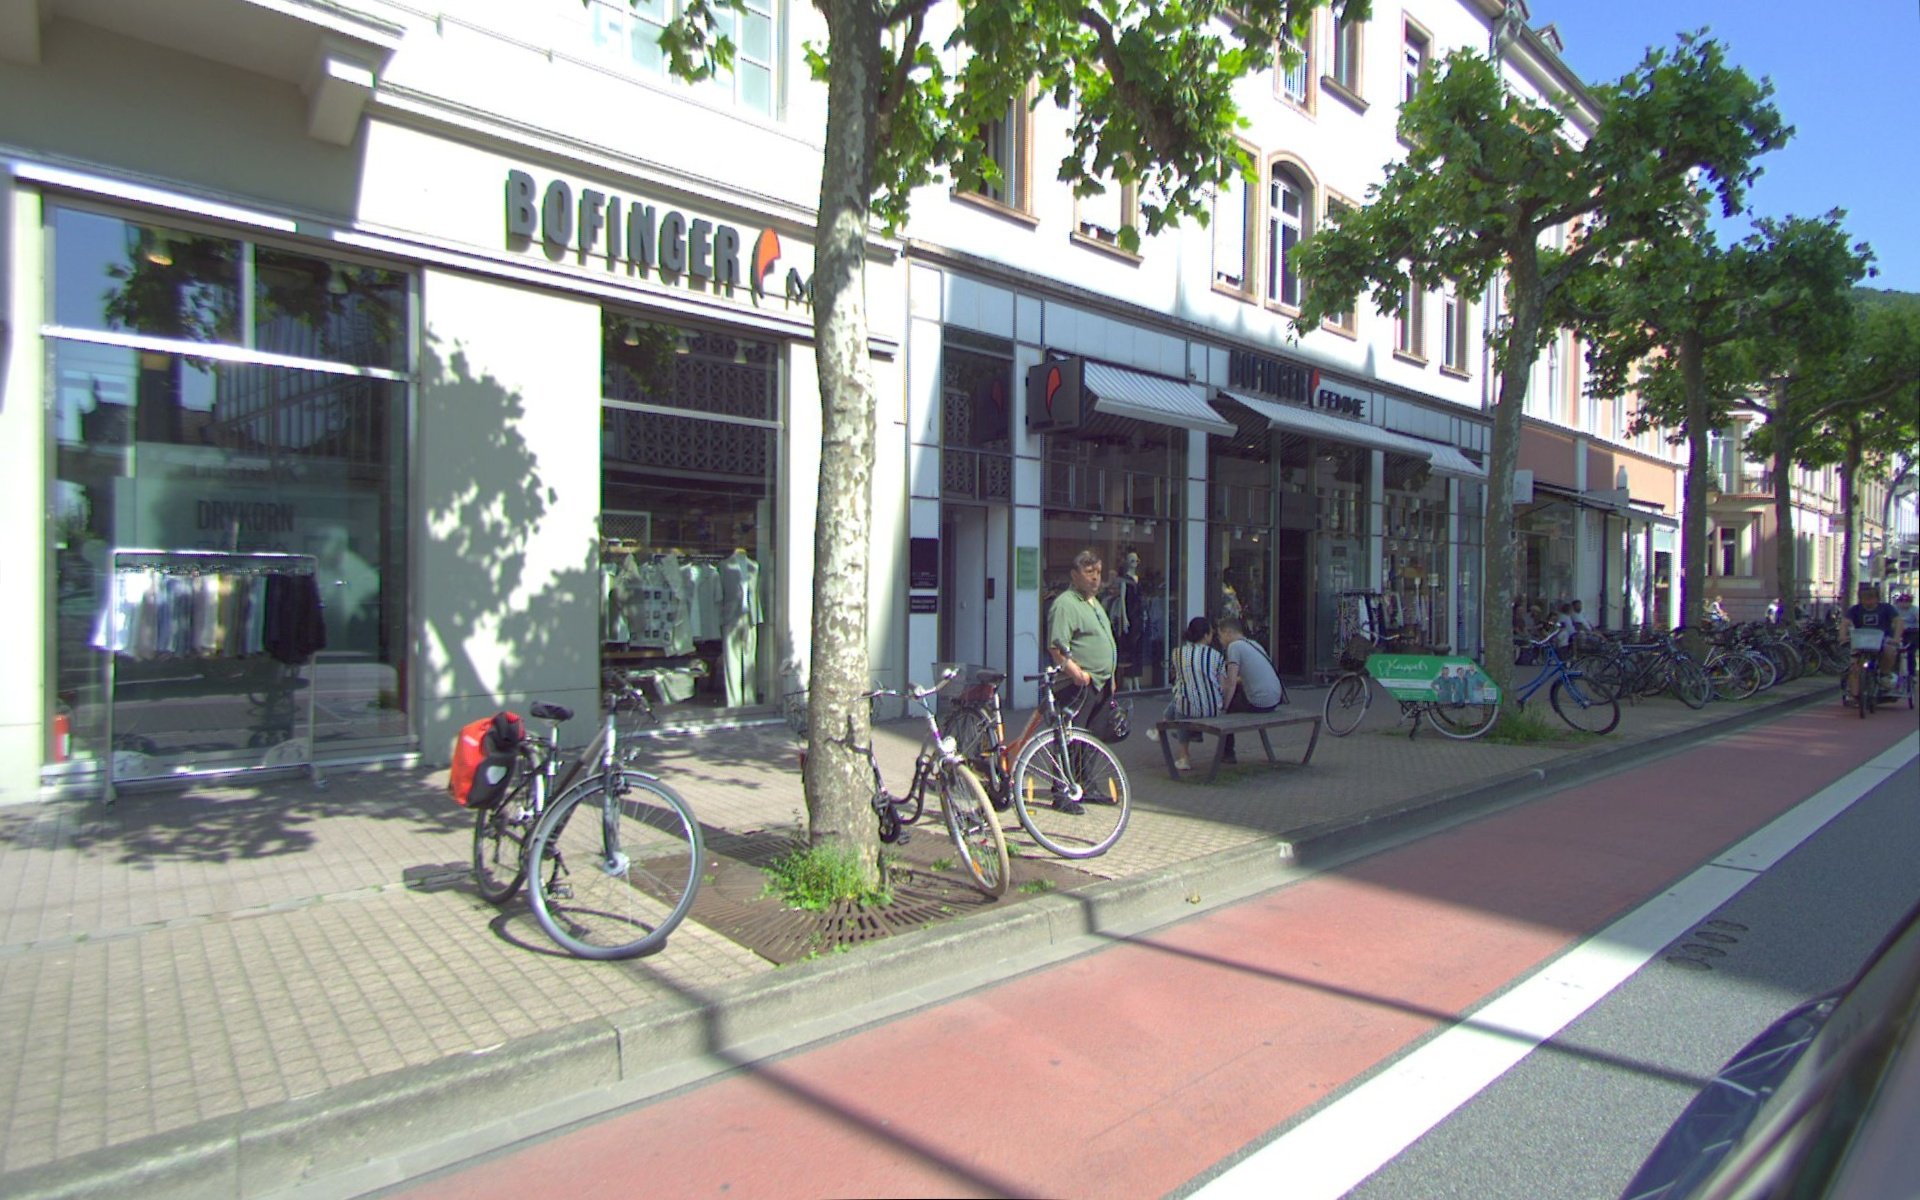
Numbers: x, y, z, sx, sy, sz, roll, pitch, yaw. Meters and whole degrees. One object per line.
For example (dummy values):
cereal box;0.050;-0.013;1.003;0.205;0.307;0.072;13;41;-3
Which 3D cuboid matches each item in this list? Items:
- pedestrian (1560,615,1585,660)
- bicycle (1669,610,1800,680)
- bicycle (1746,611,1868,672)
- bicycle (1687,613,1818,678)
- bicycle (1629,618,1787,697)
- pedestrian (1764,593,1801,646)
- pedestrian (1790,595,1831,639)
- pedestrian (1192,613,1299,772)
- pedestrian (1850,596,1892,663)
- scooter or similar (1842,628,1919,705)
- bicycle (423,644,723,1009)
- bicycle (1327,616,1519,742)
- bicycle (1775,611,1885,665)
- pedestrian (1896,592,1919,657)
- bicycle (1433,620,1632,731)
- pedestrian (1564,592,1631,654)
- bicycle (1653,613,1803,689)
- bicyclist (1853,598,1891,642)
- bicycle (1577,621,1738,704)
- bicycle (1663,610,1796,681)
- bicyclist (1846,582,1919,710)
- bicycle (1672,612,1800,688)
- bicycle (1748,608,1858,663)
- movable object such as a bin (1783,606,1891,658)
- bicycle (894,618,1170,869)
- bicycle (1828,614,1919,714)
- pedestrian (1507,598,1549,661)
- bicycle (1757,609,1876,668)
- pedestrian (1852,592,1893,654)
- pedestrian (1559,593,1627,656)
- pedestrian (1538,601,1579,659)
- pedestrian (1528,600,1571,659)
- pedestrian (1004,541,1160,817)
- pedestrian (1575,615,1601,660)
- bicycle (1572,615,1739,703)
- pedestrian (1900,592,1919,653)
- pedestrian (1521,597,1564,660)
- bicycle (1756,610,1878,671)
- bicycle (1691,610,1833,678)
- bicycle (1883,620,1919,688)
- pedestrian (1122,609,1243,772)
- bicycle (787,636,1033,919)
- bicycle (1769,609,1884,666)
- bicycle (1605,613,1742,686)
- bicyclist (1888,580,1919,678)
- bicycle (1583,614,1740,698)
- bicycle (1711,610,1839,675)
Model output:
pedestrian;13.472;0.822;22.260;0.429;0.980;0.342;1;0;-39
bicycle;14.073;0.789;18.436;0.440;1.141;1.845;-1;2;-37
bicycle;17.255;0.821;20.658;0.520;1.141;1.845;-1;2;-38
bicycle;14.730;0.827;18.875;0.519;1.141;1.848;-1;-1;-28
bicycle;11.321;0.842;15.378;0.554;1.107;1.843;0;-1;-40
pedestrian;27.028;0.644;33.253;0.773;1.679;0.642;3;-2;-27
pedestrian;33.298;0.668;39.648;0.892;1.630;0.970;1;4;21
pedestrian;2.408;0.745;8.539;0.587;1.248;0.640;-1;0;-43
pedestrian;25.222;0.797;28.013;0.630;1.818;0.788;1;-1;-43
scooter or similar;13.798;0.963;15.069;1.105;1.074;0.785;0;-1;-38
bicycle;-1.731;0.789;4.321;0.779;1.111;1.846;0;0;-35
bicycle;4.747;0.782;10.483;1.760;1.212;0.573;0;0;23
bicycle;20.164;0.865;23.501;0.654;1.141;1.845;-1;1;-38
pedestrian;26.625;0.678;28.416;0.597;1.818;0.453;1;-2;-43
bicycle;6.288;0.802;11.188;1.838;1.141;0.490;-2;-3;42
pedestrian;15.889;0.544;25.234;0.823;1.502;1.253;0;0;-43
bicycle;12.310;0.798;16.271;1.819;1.141;0.591;0;1;14
bicyclist;30.030;0.652;33.335;0.492;1.429;0.861;1;1;-39
bicycle;9.919;0.859;14.431;1.837;1.107;0.556;-1;-1;40
bicycle;13.745;0.790;18.125;0.440;1.141;1.845;-1;2;-37
bicyclist;12.807;0.603;13.937;0.760;1.694;0.733;0;1;-35
bicycle;12.997;0.806;17.026;0.439;1.141;1.850;0;1;-13
bicycle;19.237;0.782;23.124;0.654;1.141;1.845;-1;1;-38
movable object such as a bin;21.312;0.770;24.638;0.639;1.204;1.859;0;-1;-25
bicycle;0.344;0.732;6.007;0.660;1.212;1.847;0;0;-33
bicycle;12.780;0.849;13.971;2.239;1.285;0.734;2;-2;-37
pedestrian;12.398;0.636;22.086;0.523;1.349;0.682;1;0;-43
bicycle;18.321;0.794;21.686;0.654;1.141;1.845;-1;1;-38
pedestrian;25.781;0.635;28.600;0.630;1.712;0.788;1;-1;-43
pedestrian;15.352;0.568;24.557;0.776;1.440;1.234;-1;2;-43
pedestrian;13.710;0.675;23.180;0.598;1.268;0.640;-1;3;-43
pedestrian;13.276;0.655;22.784;0.523;1.269;0.682;1;1;-43
pedestrian;0.819;0.505;6.809;0.829;1.711;0.639;2;-3;-43
pedestrian;14.030;0.837;22.612;0.429;0.980;0.365;1;0;-39
bicycle;9.613;0.799;14.032;1.836;1.141;0.623;-2;-1;40
pedestrian;28.421;0.678;29.980;0.777;1.729;0.640;-3;7;-44
pedestrian;12.891;0.629;22.410;0.523;1.355;0.682;1;0;-43
bicycle;17.800;0.818;21.065;0.654;1.141;1.845;-1;1;-38
bicycle;15.268;0.801;19.325;0.746;1.141;1.995;-1;2;-27
bicycle;17.272;0.952;18.222;1.998;1.141;0.736;1;0;-41
pedestrian;1.849;0.713;8.426;0.566;1.258;0.788;-1;0;-43
bicycle;-0.341;0.778;5.192;0.487;1.141;1.848;0;-1;-29
bicycle;19.110;0.801;22.347;0.632;1.141;1.845;-1;1;-38
bicycle;11.869;0.811;16.880;1.818;1.141;0.446;0;1;13
bicyclist;17.261;0.507;18.245;0.829;1.739;0.684;0;0;-40
bicycle;10.380;0.813;15.017;1.835;1.141;0.755;-2;0;37
bicycle;16.058;0.809;19.982;0.667;1.141;1.845;-1;2;-38
